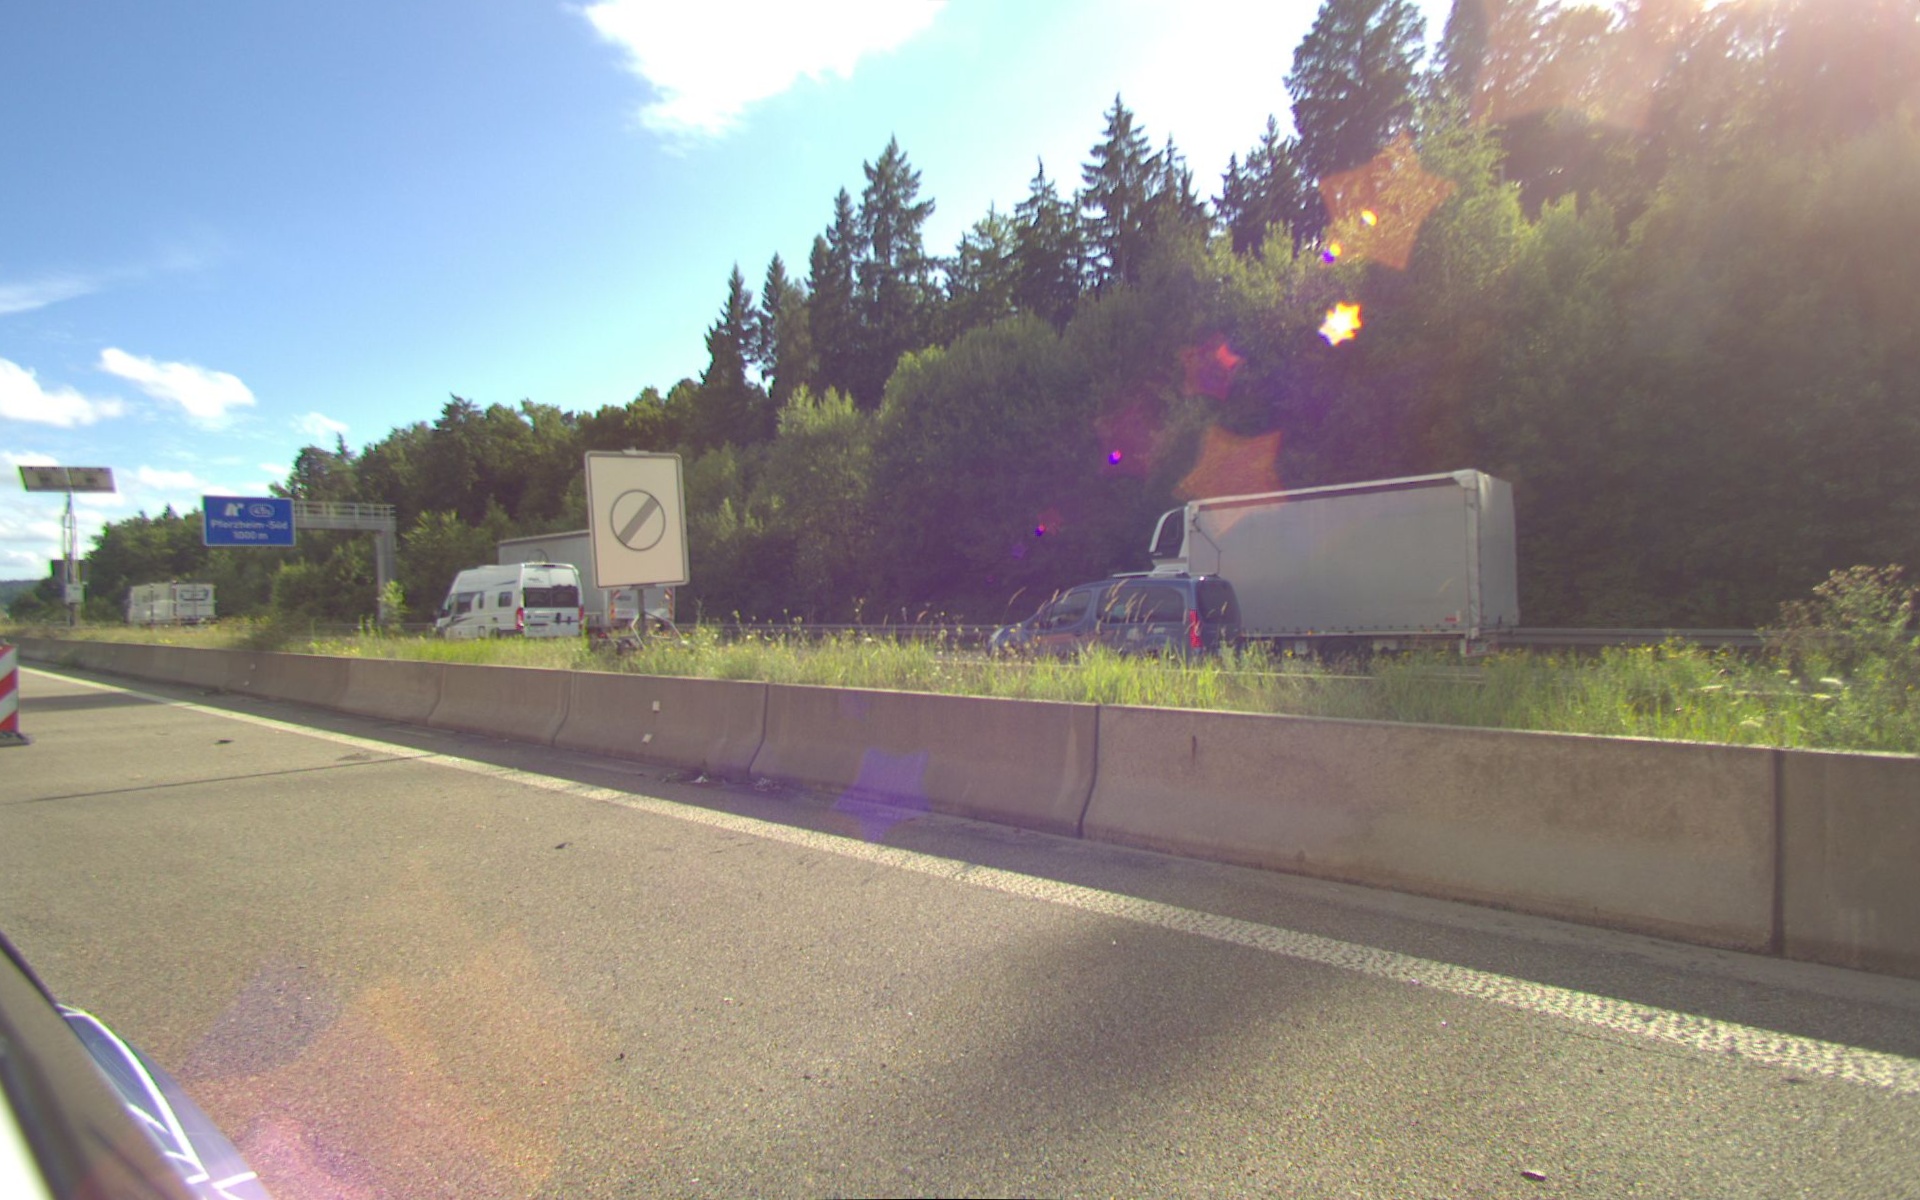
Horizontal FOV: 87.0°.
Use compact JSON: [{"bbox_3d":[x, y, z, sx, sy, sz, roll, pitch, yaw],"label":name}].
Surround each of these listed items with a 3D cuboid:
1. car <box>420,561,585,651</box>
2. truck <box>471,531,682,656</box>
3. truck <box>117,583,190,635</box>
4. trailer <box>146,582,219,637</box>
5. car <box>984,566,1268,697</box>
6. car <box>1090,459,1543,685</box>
[{"bbox_3d":[-13.967,0.226,30.645,6.329,2.470,2.137,-1,-1,42],"label":"car"},{"bbox_3d":[-14.256,-0.121,36.970,10.181,4.022,2.771,-1,-1,41],"label":"truck"},{"bbox_3d":[-66.290,0.752,83.111,10.856,4.015,2.754,-1,0,41],"label":"truck"},{"bbox_3d":[-59.006,0.693,76.752,8.484,3.953,2.762,-1,0,41],"label":"trailer"},{"bbox_3d":[2.574,0.445,16.254,4.117,1.826,1.924,-1,0,41],"label":"car"},{"bbox_3d":[6.200,-0.394,18.567,7.448,3.395,2.461,-1,0,41],"label":"car"}]
